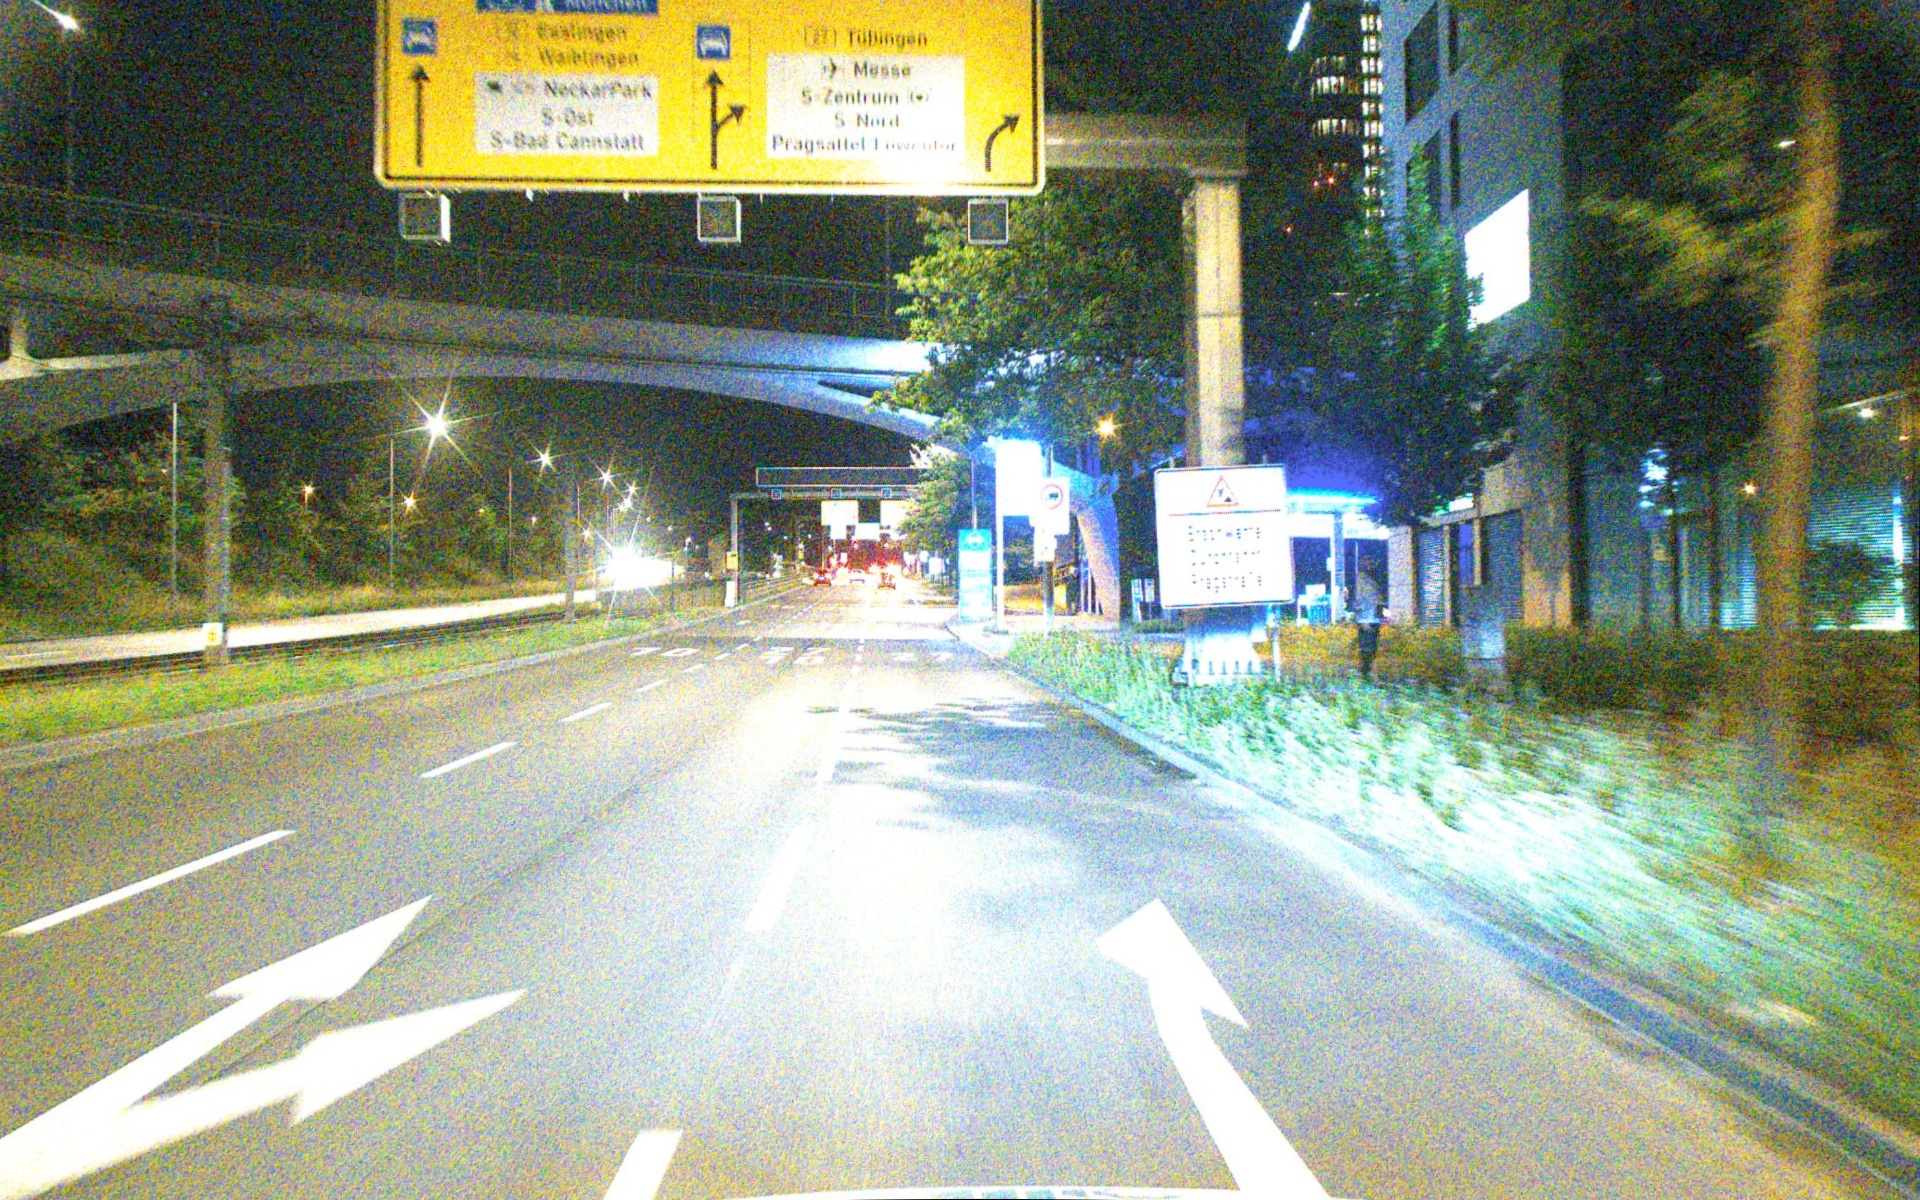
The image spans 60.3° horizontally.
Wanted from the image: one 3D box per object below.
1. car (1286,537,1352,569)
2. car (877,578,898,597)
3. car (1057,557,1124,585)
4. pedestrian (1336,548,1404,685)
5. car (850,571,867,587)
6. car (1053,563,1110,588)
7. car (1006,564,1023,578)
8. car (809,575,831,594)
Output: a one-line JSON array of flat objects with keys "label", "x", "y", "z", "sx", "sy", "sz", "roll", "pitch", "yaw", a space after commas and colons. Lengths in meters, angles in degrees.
[{"label": "car", "x": 22.869, "y": -2.978, "z": 105.364, "sx": 3.736, "sy": 1.928, "sz": 1.750, "roll": 0, "pitch": 0, "yaw": -6}, {"label": "car", "x": -7.034, "y": -1.244, "z": 160.736, "sx": 1.928, "sy": 1.741, "sz": 3.999, "roll": 1, "pitch": 0, "yaw": -1}, {"label": "car", "x": 8.267, "y": -1.836, "z": 104.762, "sx": 4.036, "sy": 1.549, "sz": 1.822, "roll": -2, "pitch": -1, "yaw": -2}, {"label": "pedestrian", "x": 6.004, "y": 0.233, "z": 24.244, "sx": 0.787, "sy": 1.946, "sz": 0.794, "roll": -3, "pitch": 0, "yaw": 7}, {"label": "car", "x": -11.933, "y": -2.493, "z": 194.627, "sx": 1.746, "sy": 1.741, "sz": 3.999, "roll": 1, "pitch": 0, "yaw": -1}, {"label": "car", "x": 8.229, "y": -1.678, "z": 112.225, "sx": 3.652, "sy": 1.515, "sz": 1.740, "roll": -2, "pitch": -1, "yaw": -5}, {"label": "car", "x": 6.283, "y": -3.324, "z": 189.753, "sx": 1.853, "sy": 1.538, "sz": 3.638, "roll": 1, "pitch": 0, "yaw": 4}, {"label": "car", "x": -14.295, "y": -1.576, "z": 169.163, "sx": 1.928, "sy": 1.741, "sz": 3.999, "roll": 1, "pitch": 0, "yaw": -1}]
